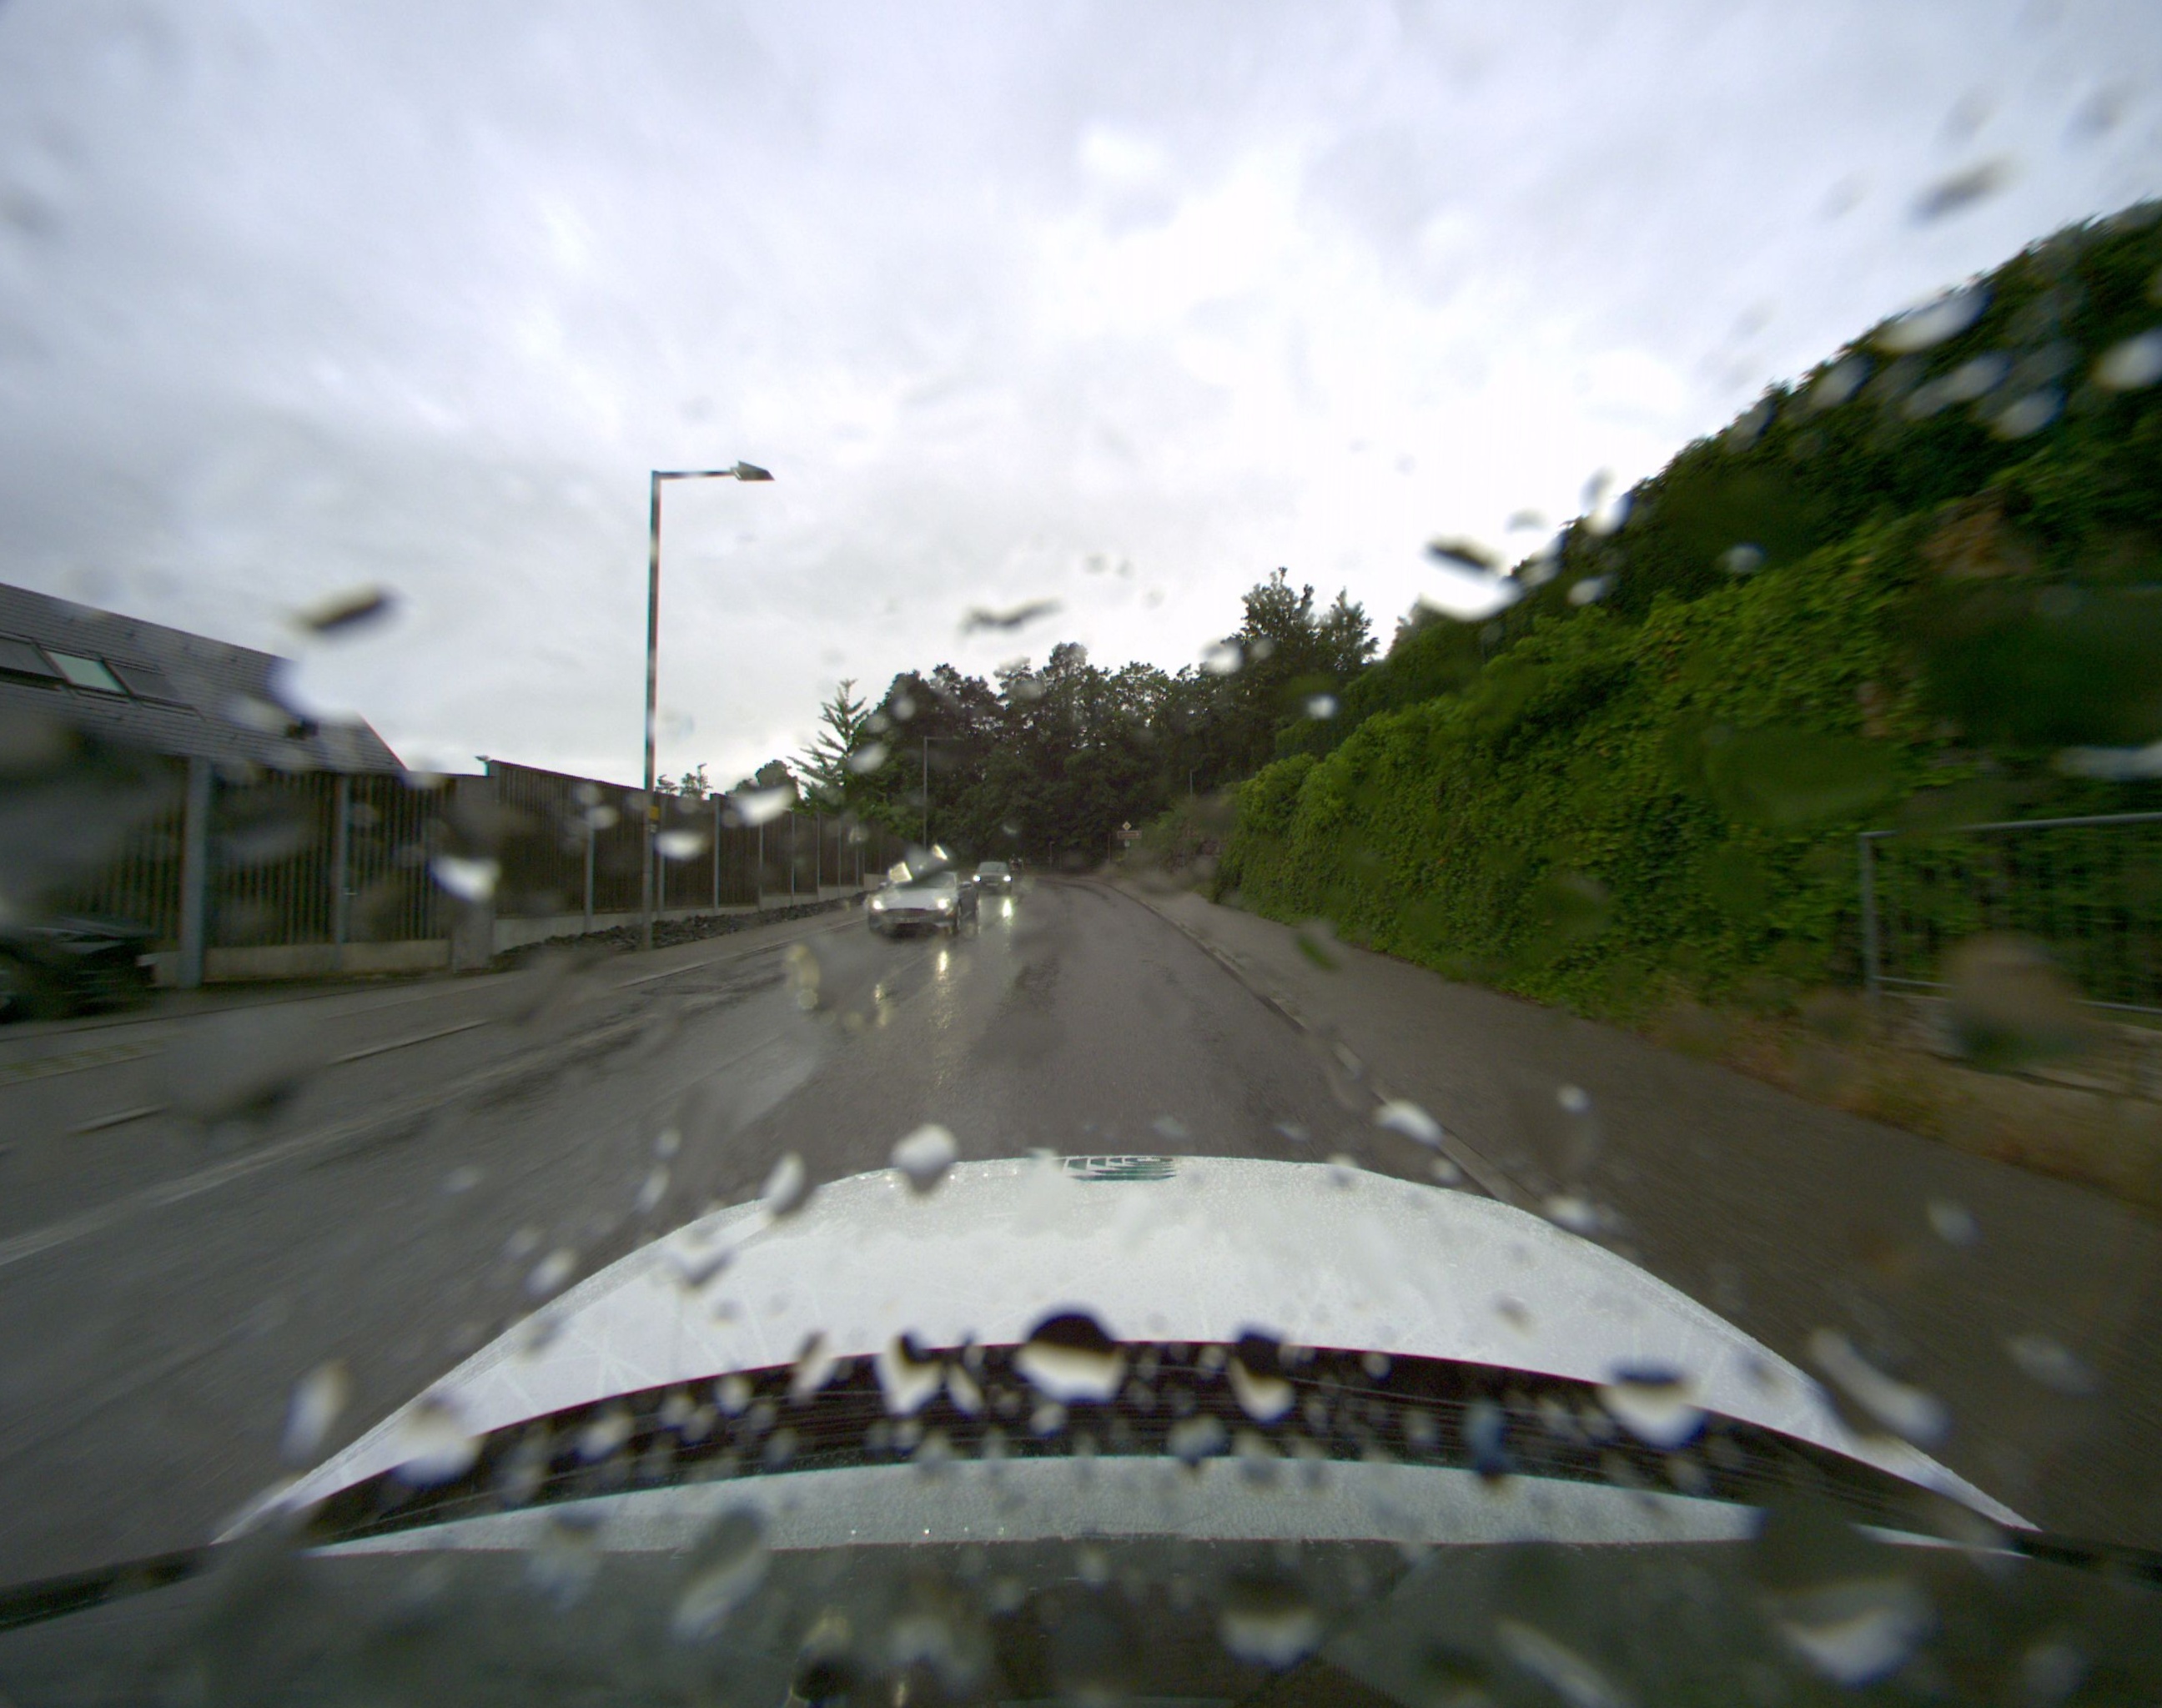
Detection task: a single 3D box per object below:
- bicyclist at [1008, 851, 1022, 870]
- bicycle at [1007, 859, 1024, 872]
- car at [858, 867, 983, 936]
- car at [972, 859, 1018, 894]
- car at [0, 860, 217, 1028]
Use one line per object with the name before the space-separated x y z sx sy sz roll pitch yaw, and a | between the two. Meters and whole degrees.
bicyclist | -5.459 0.535 67.492 0.726 1.615 0.894 1 -1 -42
bicycle | -5.448 0.944 67.503 0.532 1.085 1.601 1 0 -44
car | -3.420 0.968 18.169 1.874 1.283 4.210 0 0 1
car | -3.870 0.987 37.318 1.877 1.449 4.204 0 0 -3
car | -11.886 0.868 8.006 4.309 1.601 1.819 1 0 -33
